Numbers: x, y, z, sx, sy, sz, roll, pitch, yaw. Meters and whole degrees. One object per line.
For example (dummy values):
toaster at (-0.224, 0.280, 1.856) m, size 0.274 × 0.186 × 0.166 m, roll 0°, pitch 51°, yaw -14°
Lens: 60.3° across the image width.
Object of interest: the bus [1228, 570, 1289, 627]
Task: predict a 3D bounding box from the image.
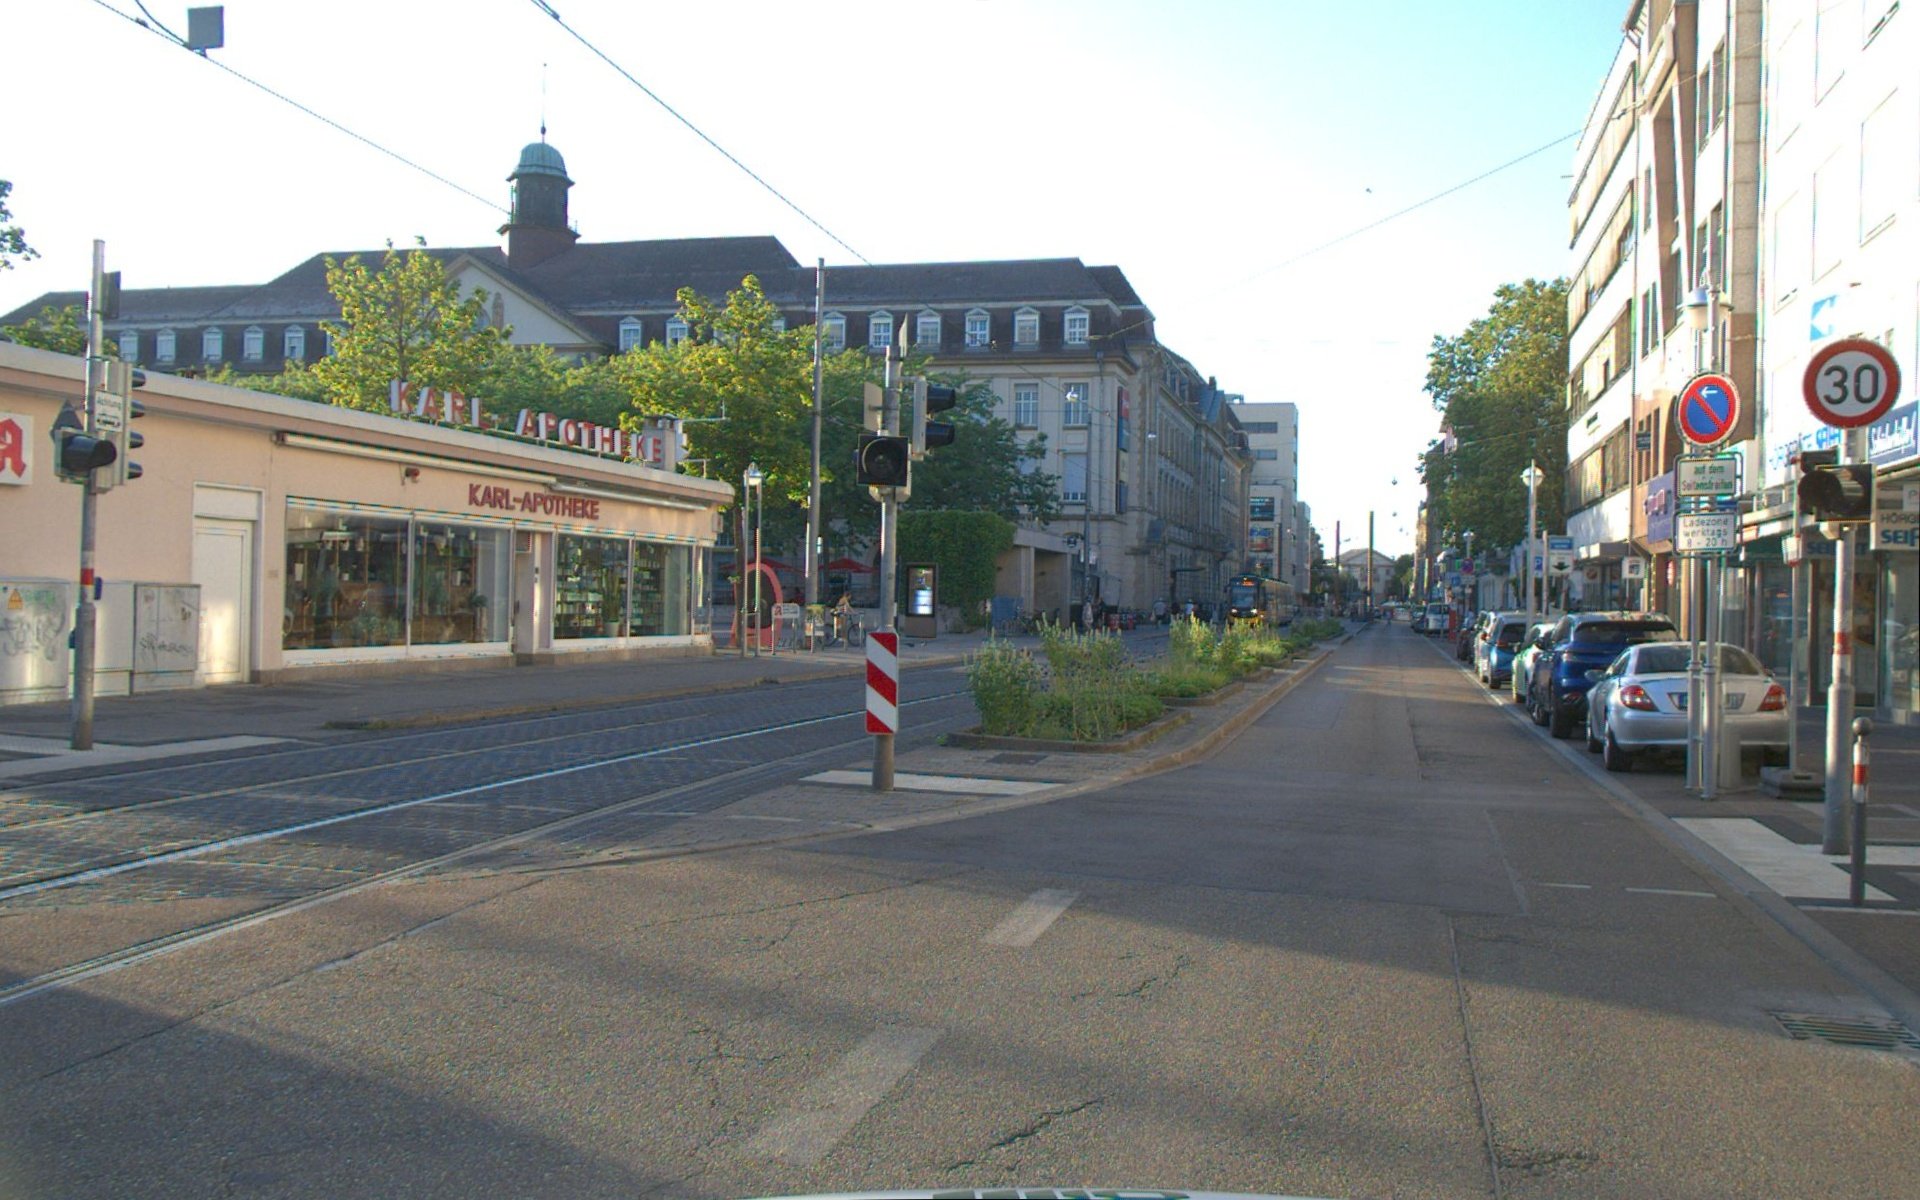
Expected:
bus at (21.113, -0.080, 116.254) m, size 2.762 × 3.715 × 17.084 m, roll 1°, pitch 0°, yaw 15°

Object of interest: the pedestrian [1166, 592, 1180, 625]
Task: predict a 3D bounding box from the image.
pedestrian at (12.346, 0.494, 95.816) m, size 0.717 × 1.873 × 0.715 m, roll 1°, pitch -2°, yaw 15°

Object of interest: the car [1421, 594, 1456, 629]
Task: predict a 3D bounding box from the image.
car at (28.606, 0.672, 99.042) m, size 1.874 × 2.016 × 4.424 m, roll 1°, pitch -1°, yaw 15°

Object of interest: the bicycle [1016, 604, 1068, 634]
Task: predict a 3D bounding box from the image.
bicycle at (3.600, 0.848, 72.907) m, size 2.194 × 1.277 × 0.580 m, roll 1°, pitch -2°, yaw 15°

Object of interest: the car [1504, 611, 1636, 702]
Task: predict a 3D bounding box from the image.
car at (10.684, 0.978, 29.205) m, size 1.694 × 1.460 × 4.155 m, roll 1°, pitch -1°, yaw 13°

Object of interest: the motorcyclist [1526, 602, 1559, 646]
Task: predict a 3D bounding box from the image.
motorcyclist at (24.888, 1.016, 70.691) m, size 0.983 × 1.845 × 0.958 m, roll 1°, pitch -2°, yaw -7°

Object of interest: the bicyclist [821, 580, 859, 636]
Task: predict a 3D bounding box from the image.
bicyclist at (-3.899, 0.252, 53.620) m, size 0.919 × 1.807 × 0.961 m, roll 1°, pitch 0°, yaw -29°

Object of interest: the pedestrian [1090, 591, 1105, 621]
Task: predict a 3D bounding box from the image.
pedestrian at (7.760, 0.336, 93.230) m, size 0.700 × 1.674 × 0.659 m, roll 2°, pitch 0°, yaw -7°

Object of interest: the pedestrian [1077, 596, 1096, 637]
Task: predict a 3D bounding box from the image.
pedestrian at (6.150, 0.786, 80.627) m, size 0.709 × 1.968 × 0.793 m, roll 1°, pitch -2°, yaw 18°

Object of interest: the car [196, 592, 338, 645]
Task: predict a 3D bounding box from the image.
car at (-22.647, 0.650, 54.274) m, size 1.760 × 1.593 × 4.683 m, roll 1°, pitch -2°, yaw 15°

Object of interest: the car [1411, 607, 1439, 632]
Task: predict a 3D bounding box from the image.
car at (34.628, 1.489, 123.248) m, size 1.951 × 1.791 × 4.424 m, roll 1°, pitch -1°, yaw 15°

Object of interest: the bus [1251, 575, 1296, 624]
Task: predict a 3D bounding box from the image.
bus at (24.438, -0.051, 128.490) m, size 2.762 × 3.688 × 8.295 m, roll 1°, pitch 0°, yaw 15°

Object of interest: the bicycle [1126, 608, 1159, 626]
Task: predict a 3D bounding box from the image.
bicycle at (12.025, 1.118, 108.976) m, size 2.052 × 1.168 × 0.575 m, roll 1°, pitch -2°, yaw 10°

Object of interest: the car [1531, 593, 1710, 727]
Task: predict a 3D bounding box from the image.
car at (8.940, 0.749, 22.705) m, size 1.727 × 1.633 × 4.290 m, roll 1°, pitch 0°, yaw 14°

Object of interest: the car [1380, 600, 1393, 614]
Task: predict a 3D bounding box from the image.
car at (60.496, 1.048, 234.472) m, size 1.723 × 1.859 × 3.572 m, roll 1°, pitch -2°, yaw 15°

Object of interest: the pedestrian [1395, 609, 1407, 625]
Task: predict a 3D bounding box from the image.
pedestrian at (56.225, 2.130, 210.898) m, size 1.204 × 1.962 × 1.022 m, roll 1°, pitch 0°, yaw -1°

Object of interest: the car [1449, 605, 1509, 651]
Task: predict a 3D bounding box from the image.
car at (17.401, 0.916, 55.591) m, size 1.620 × 1.404 × 4.344 m, roll -3°, pitch -1°, yaw 14°

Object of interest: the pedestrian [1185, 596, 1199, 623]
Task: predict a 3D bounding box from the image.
pedestrian at (15.336, 0.654, 109.523) m, size 0.797 × 1.737 × 0.762 m, roll 1°, pitch -2°, yaw 16°

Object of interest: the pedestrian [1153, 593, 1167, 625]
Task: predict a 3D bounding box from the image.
pedestrian at (11.597, 0.524, 95.887) m, size 0.678 × 1.880 × 0.662 m, roll 1°, pitch -2°, yaw 15°

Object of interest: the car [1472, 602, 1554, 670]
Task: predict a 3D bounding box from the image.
car at (14.313, 0.890, 42.967) m, size 1.778 × 1.613 × 4.726 m, roll 1°, pitch 0°, yaw 16°

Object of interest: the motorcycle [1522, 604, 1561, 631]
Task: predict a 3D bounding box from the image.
motorcycle at (26.348, 0.803, 74.991) m, size 0.554 × 1.165 × 2.291 m, roll 2°, pitch 0°, yaw -11°

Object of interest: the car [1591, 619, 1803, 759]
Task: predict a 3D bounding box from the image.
car at (7.876, 0.879, 17.994) m, size 1.638 × 1.305 × 4.065 m, roll 1°, pitch -1°, yaw 17°

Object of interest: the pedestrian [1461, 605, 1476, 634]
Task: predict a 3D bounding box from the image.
pedestrian at (32.204, 1.225, 104.792) m, size 0.770 × 1.782 × 0.895 m, roll 1°, pitch -2°, yaw 8°

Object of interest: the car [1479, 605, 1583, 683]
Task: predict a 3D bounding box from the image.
car at (12.624, 0.925, 36.797) m, size 1.771 × 1.579 × 4.840 m, roll 1°, pitch 0°, yaw 14°

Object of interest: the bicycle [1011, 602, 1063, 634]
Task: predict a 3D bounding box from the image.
bicycle at (3.328, 0.760, 71.399) m, size 2.150 × 1.323 × 0.580 m, roll 1°, pitch -2°, yaw 15°

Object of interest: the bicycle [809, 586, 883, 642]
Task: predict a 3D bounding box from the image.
bicycle at (-3.699, 0.463, 53.737) m, size 2.334 × 1.770 × 0.597 m, roll 1°, pitch 0°, yaw -29°

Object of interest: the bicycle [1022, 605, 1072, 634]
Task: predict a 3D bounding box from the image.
bicycle at (3.922, 0.872, 74.497) m, size 2.194 × 1.253 × 0.585 m, roll 1°, pitch -1°, yaw 15°
